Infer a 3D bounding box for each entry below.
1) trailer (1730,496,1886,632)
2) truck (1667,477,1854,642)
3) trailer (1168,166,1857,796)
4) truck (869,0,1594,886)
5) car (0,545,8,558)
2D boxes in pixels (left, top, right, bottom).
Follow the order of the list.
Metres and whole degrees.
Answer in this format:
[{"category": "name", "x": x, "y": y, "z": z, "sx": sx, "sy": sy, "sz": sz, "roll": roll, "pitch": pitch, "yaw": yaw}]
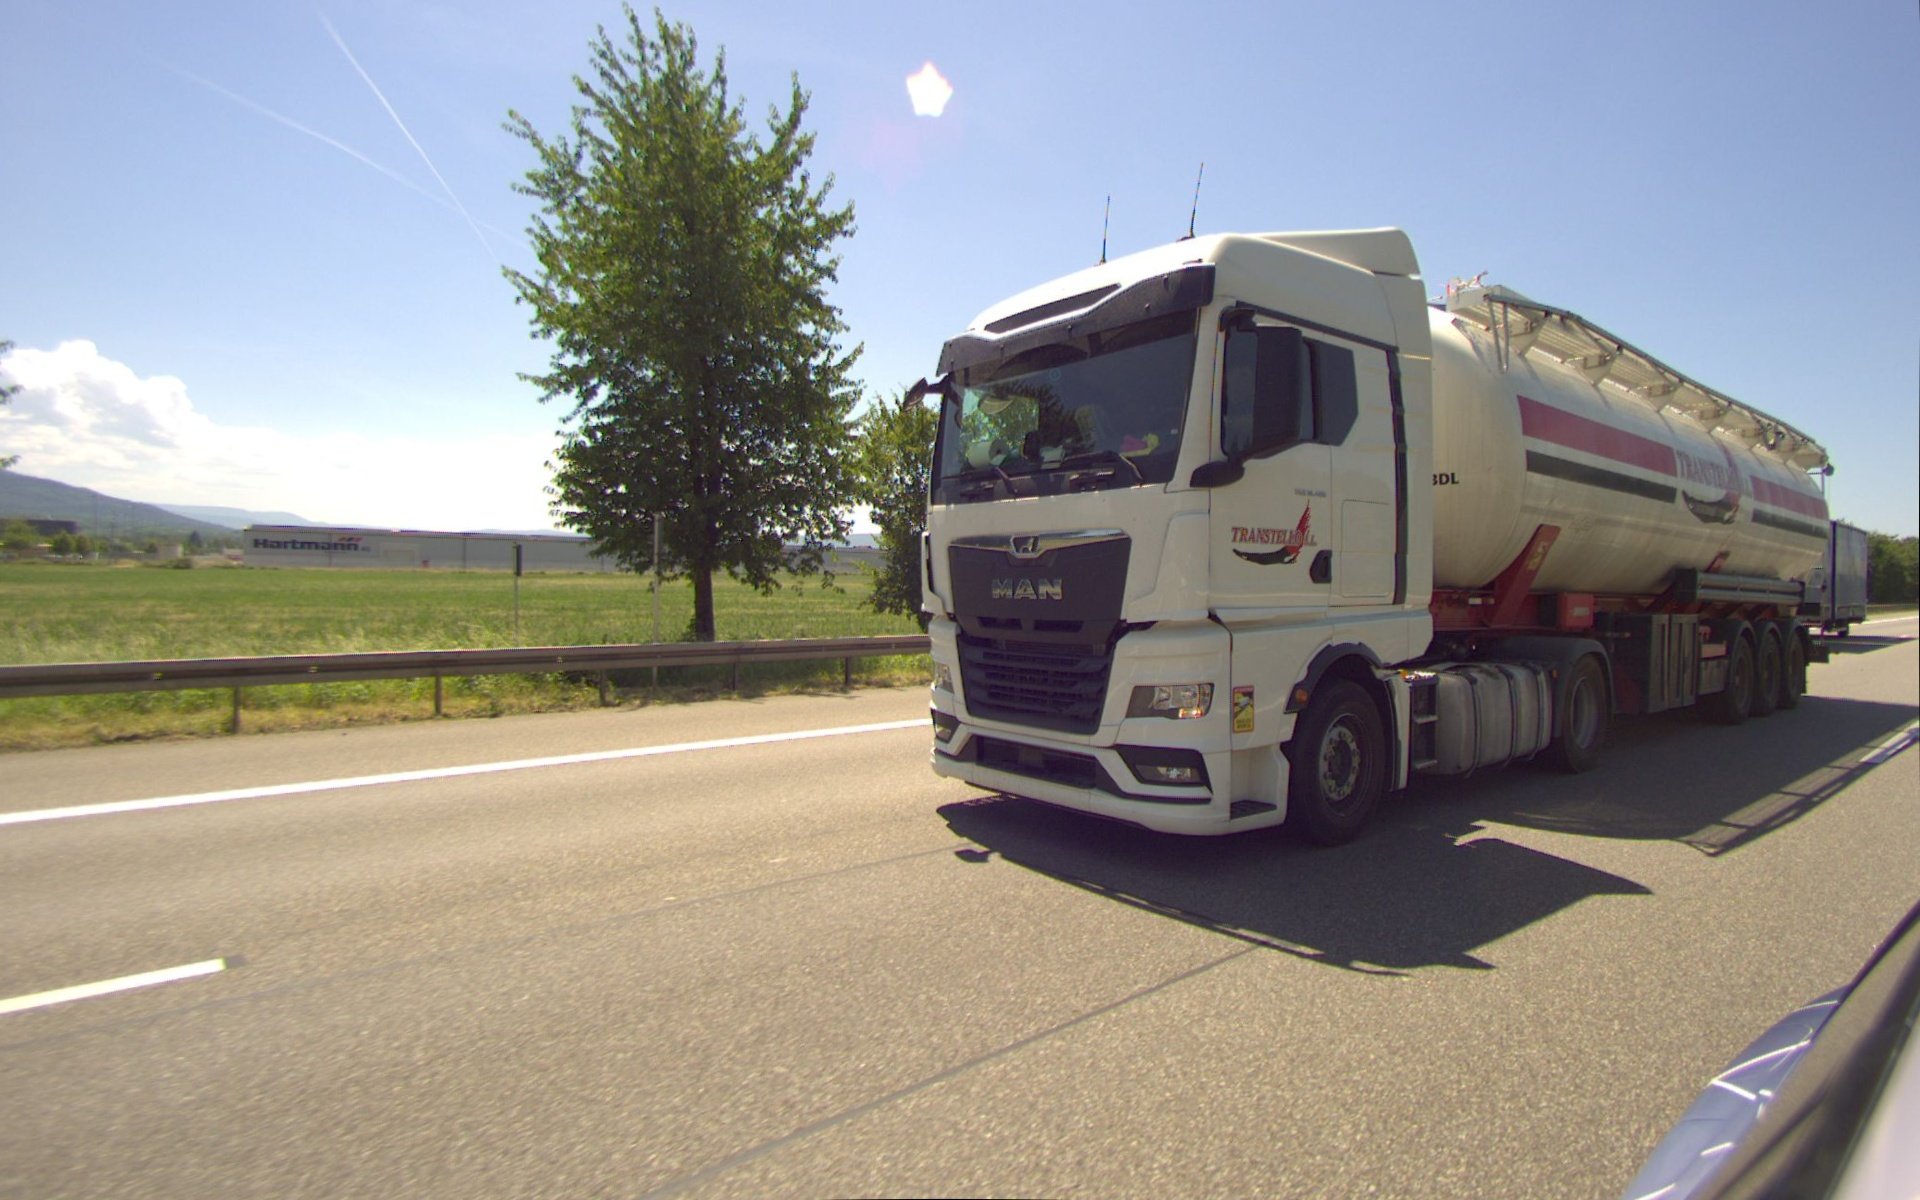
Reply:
[{"category": "trailer", "x": 30.555, "y": -1.196, "z": 36.239, "sx": 10.621, "sy": 4.257, "sz": 2.794, "roll": 0, "pitch": 1, "yaw": -42}, {"category": "truck", "x": 24.595, "y": -1.106, "z": 30.796, "sx": 10.623, "sy": 4.257, "sz": 2.794, "roll": 0, "pitch": 1, "yaw": -43}, {"category": "trailer", "x": 7.411, "y": -0.862, "z": 11.840, "sx": 12.133, "sy": 4.257, "sz": 2.796, "roll": 0, "pitch": 1, "yaw": -40}, {"category": "truck", "x": 2.166, "y": -0.796, "z": 7.505, "sx": 4.910, "sy": 4.257, "sz": 2.797, "roll": 0, "pitch": 1, "yaw": -39}, {"category": "car", "x": -159.136, "y": -7.965, "z": 166.136, "sx": 3.924, "sy": 2.039, "sz": 1.875, "roll": 0, "pitch": 1, "yaw": -35}]
